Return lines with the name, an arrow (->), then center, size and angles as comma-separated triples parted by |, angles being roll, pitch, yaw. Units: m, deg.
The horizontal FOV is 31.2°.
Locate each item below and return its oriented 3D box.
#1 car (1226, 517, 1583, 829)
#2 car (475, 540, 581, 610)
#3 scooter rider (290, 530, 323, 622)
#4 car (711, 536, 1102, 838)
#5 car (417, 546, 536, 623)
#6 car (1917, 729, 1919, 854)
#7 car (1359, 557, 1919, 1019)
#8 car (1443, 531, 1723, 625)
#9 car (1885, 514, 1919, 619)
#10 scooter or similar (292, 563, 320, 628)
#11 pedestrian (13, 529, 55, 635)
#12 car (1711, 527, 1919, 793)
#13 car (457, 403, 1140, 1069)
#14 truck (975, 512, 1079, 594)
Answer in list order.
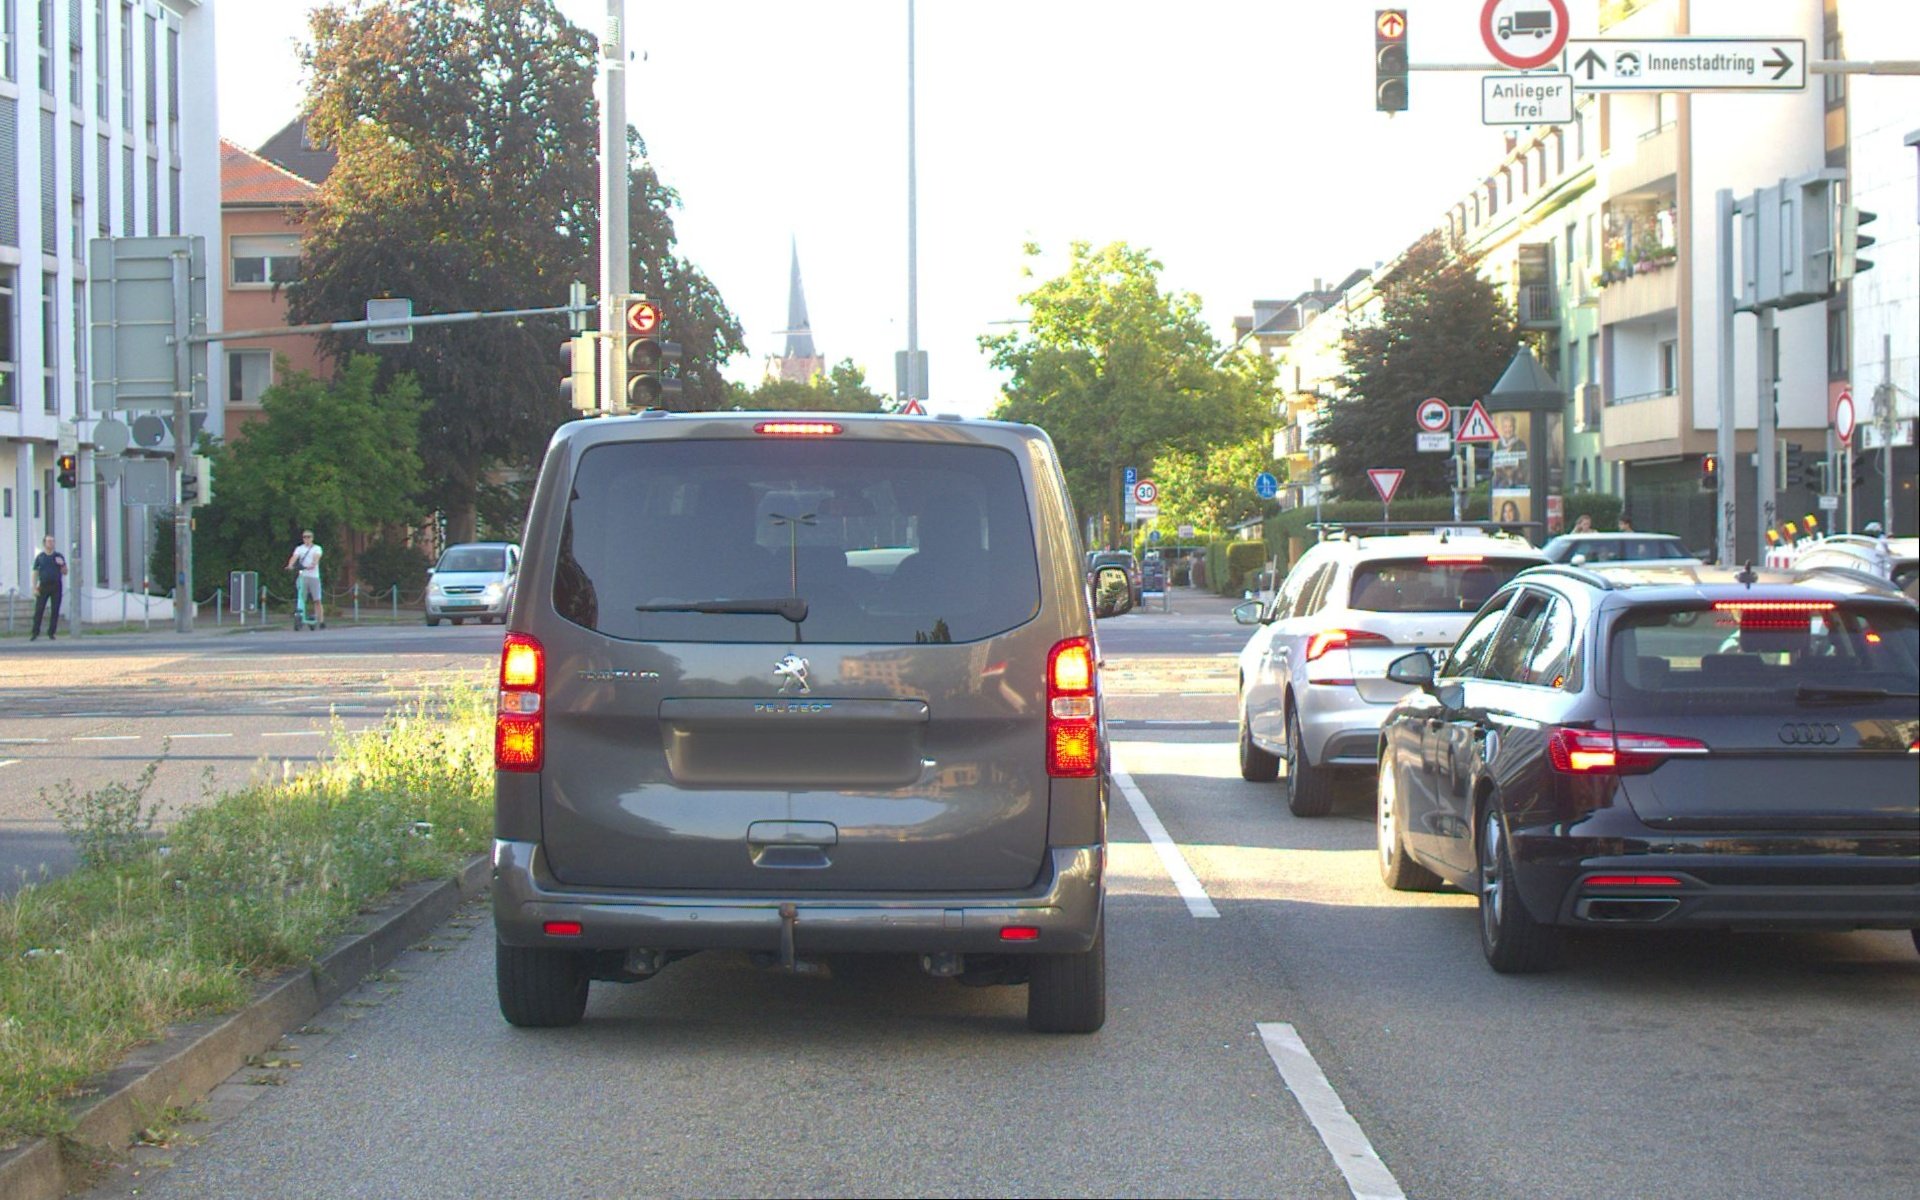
car -> 2.471, 0.346, 19.878 | 1.528, 1.608, 3.745 | 1, 1, 0
car -> -9.164, -0.553, 73.158 | 1.856, 1.415, 4.001 | -1, 1, -2
scooter rider -> -12.051, -0.450, 63.406 | 0.481, 1.691, 0.636 | -1, 1, 0
car -> -0.287, 0.409, 19.650 | 1.993, 1.525, 4.000 | 0, 1, 0
car -> -9.440, -0.321, 67.367 | 1.856, 1.415, 4.001 | -1, 1, -2
car -> 5.448, 0.547, 14.659 | 1.633, 1.444, 3.745 | 1, 1, 0
car -> 2.624, 0.576, 13.022 | 1.681, 1.416, 4.214 | 1, 1, 0
car -> 9.823, -0.363, 54.357 | 3.986, 1.415, 1.788 | -1, 1, -8
car -> 16.229, -0.521, 51.282 | 4.338, 1.544, 1.788 | -1, 1, -7
scooter or similar -> -12.046, -0.089, 63.312 | 0.285, 1.184, 1.169 | -1, 1, 0
pedestrian -> -15.083, -0.296, 56.010 | 0.625, 1.716, 0.671 | -1, 1, -14
car -> 5.595, 0.294, 20.438 | 1.504, 1.444, 3.305 | -1, 1, 0
car -> -0.475, 0.342, 12.009 | 1.907, 1.857, 4.527 | 1, 1, 0
truck -> 1.728, -1.266, 90.986 | 2.127, 2.079, 4.632 | -1, 1, -7
